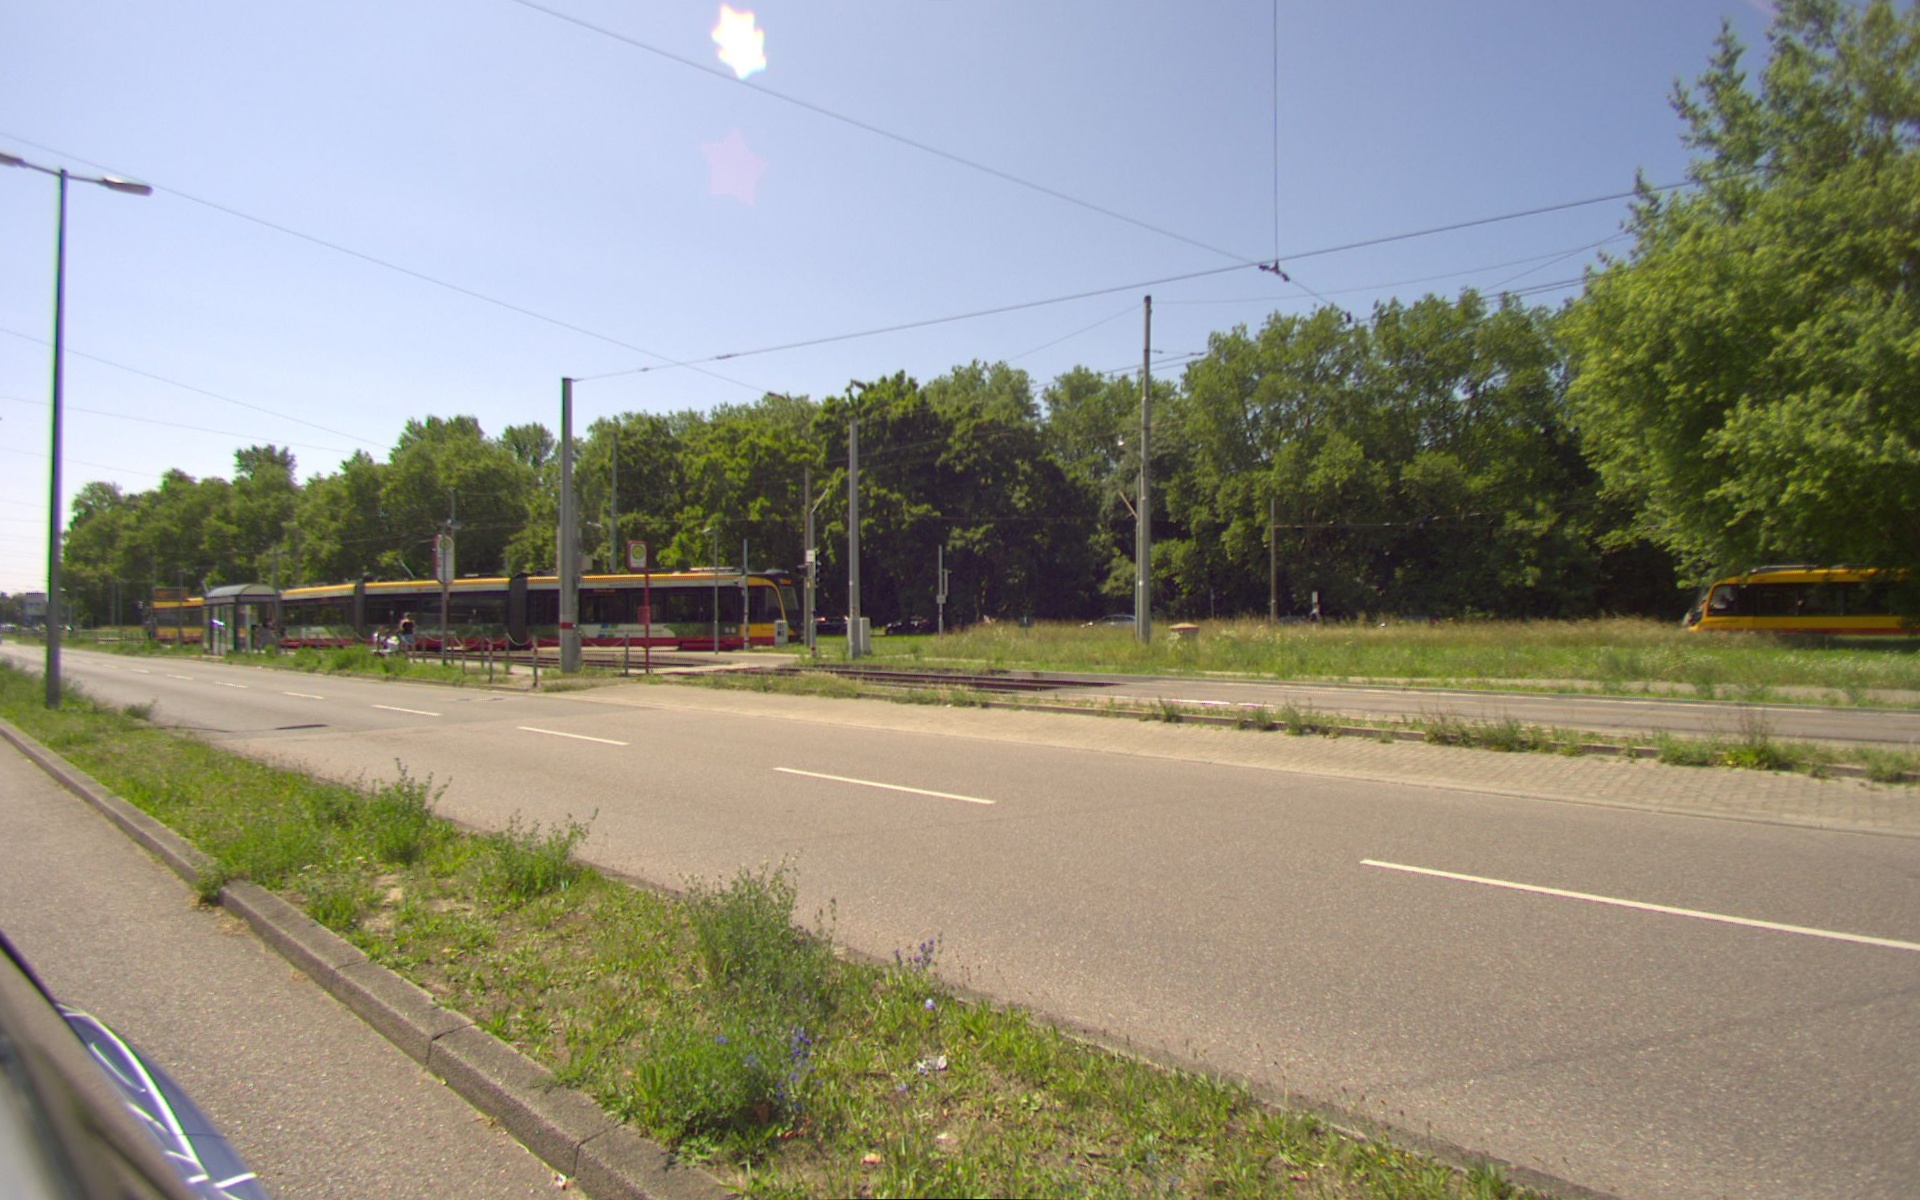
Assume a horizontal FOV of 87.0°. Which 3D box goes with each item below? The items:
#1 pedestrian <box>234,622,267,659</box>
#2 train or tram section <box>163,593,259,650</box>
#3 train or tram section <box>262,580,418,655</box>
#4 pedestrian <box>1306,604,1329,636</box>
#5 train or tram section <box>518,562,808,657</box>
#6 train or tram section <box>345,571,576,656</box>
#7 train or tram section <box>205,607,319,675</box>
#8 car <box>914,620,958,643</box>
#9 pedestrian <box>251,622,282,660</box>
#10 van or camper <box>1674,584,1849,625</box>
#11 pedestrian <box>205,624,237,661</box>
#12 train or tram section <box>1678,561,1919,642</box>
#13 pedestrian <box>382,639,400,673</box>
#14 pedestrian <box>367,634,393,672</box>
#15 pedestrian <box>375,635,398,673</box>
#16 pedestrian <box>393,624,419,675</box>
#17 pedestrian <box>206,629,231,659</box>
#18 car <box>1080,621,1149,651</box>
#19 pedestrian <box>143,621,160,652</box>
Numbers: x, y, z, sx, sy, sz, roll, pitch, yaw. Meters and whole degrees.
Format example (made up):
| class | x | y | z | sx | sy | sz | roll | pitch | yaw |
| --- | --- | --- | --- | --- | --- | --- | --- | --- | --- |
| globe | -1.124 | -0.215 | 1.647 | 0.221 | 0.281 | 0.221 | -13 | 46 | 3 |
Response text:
| class | x | y | z | sx | sy | sz | roll | pitch | yaw |
| --- | --- | --- | --- | --- | --- | --- | --- | --- | --- |
| pedestrian | -30.263 | 1.721 | 43.171 | 0.985 | 1.558 | 0.921 | -2 | 0 | 40 |
| train or tram section | -53.844 | 1.559 | 72.560 | 12.592 | 3.769 | 3.011 | -2 | 0 | 42 |
| train or tram section | -33.954 | 0.992 | 55.013 | 13.887 | 3.652 | 3.013 | -2 | 0 | 40 |
| pedestrian | 17.707 | 0.988 | 50.160 | 0.779 | 1.586 | 0.692 | -2 | 0 | -4 |
| train or tram section | -12.961 | 0.465 | 44.106 | 12.335 | 3.652 | 3.039 | -2 | 0 | 15 |
| train or tram section | -23.947 | 0.719 | 48.146 | 12.389 | 3.652 | 3.026 | -2 | 0 | 27 |
| train or tram section | -44.236 | 2.524 | 63.862 | 13.260 | 3.795 | 3.011 | -2 | 0 | 43 |
| car | -1.811 | 2.417 | 77.470 | 3.059 | 1.608 | 1.375 | -2 | 0 | 29 |
| pedestrian | -29.343 | 1.729 | 42.822 | 0.878 | 1.519 | 0.826 | -2 | 0 | 40 |
| van or camper | 44.537 | 0.279 | 56.524 | 7.314 | 2.029 | 1.984 | -2 | 0 | 24 |
| pedestrian | -31.642 | 1.806 | 43.322 | 1.025 | 1.558 | 0.865 | -2 | 0 | 40 |
| train or tram section | 41.229 | 0.051 | 46.421 | 13.223 | 3.492 | 3.013 | -2 | 0 | 33 |
| pedestrian | -18.184 | 1.781 | 32.339 | 0.377 | 1.066 | 0.379 | -2 | 0 | 40 |
| pedestrian | -18.848 | 1.724 | 32.884 | 0.536 | 1.198 | 0.575 | -2 | 0 | 40 |
| pedestrian | -18.468 | 1.734 | 32.585 | 0.400 | 1.198 | 0.489 | -2 | 0 | 39 |
| pedestrian | -17.634 | 1.558 | 32.210 | 0.582 | 1.577 | 0.529 | -2 | 0 | 41 |
| pedestrian | -32.386 | 1.922 | 44.198 | 0.839 | 1.293 | 0.694 | -2 | 0 | 40 |
| car | 9.931 | 2.323 | 65.083 | 3.975 | 1.741 | 1.984 | -2 | 0 | 24 |
| pedestrian | -47.440 | 2.137 | 59.359 | 0.776 | 1.804 | 0.625 | -2 | 0 | 40 |
